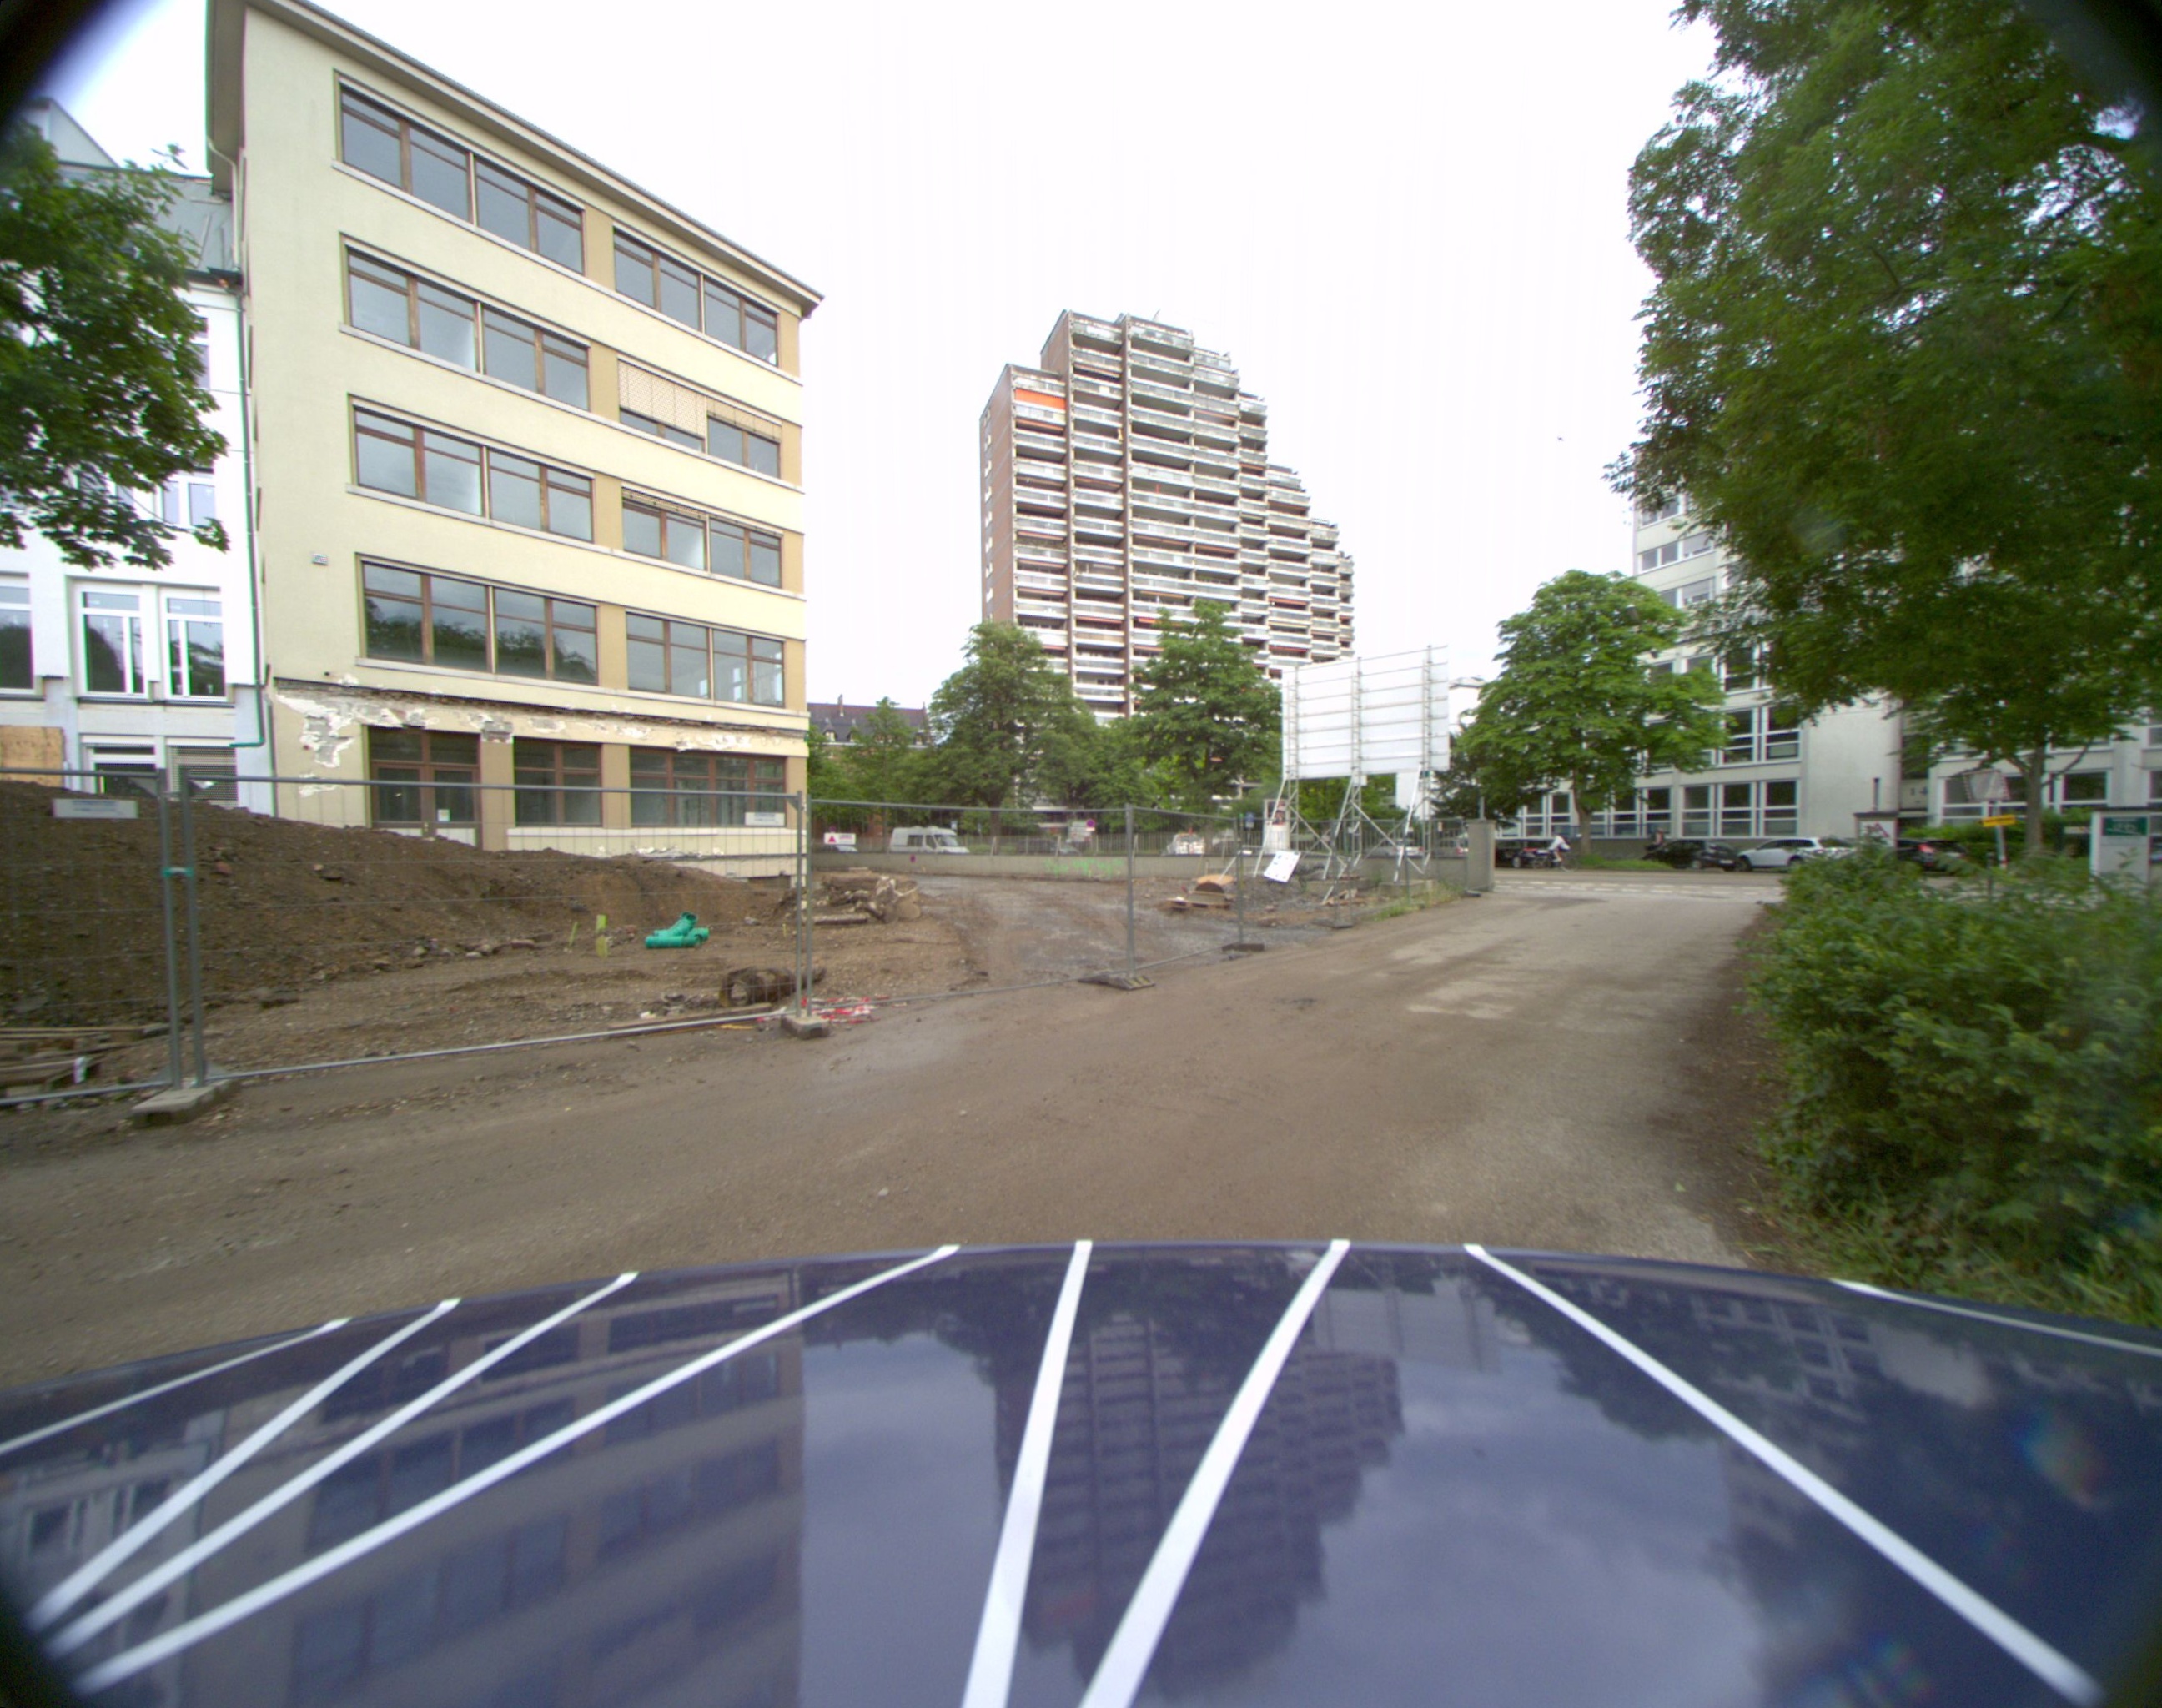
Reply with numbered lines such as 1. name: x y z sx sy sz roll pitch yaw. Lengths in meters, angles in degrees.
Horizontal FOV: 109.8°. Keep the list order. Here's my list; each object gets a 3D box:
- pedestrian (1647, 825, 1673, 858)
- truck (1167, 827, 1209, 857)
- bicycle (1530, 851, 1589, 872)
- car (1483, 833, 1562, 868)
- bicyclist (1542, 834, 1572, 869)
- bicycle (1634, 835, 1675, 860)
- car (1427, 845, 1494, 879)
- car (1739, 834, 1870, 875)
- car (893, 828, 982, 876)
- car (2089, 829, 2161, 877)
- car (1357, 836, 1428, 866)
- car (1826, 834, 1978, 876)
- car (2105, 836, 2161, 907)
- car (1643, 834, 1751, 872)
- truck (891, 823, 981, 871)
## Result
1. pedestrian: 29.507 -0.647 38.733 0.735 1.603 0.753 -3 5 -27
2. truck: 7.170 -0.850 51.372 1.999 1.838 5.061 -1 2 -2
3. bicycle: 20.873 0.326 33.151 2.132 0.864 0.471 1 2 39
4. car: 21.747 -0.218 37.580 1.699 1.516 3.703 -1 3 -2
5. bicyclist: 20.809 -0.129 33.209 1.024 1.492 0.847 1 2 38
6. bicycle: 29.110 -0.340 38.601 0.407 1.261 1.591 -2 2 -38
7. car: 19.665 0.390 39.501 1.572 1.516 3.649 -1 3 -2
8. car: 29.446 -0.031 31.115 1.698 1.476 4.028 -1 3 5
9. car: -8.367 -0.183 43.927 5.475 2.588 2.123 1 3 42
10. car: 36.716 -0.004 24.760 1.699 1.547 4.342 -2 3 -6
11. car: 17.135 -0.217 41.994 1.803 1.457 4.428 -1 3 -5
12. car: 31.682 -0.001 29.516 1.698 1.398 4.028 -1 3 5
13. car: 23.519 0.367 15.128 3.422 1.452 1.683 1 1 42
14. car: 27.063 -0.094 33.547 1.699 1.516 3.703 -1 3 -2
15. truck: -8.414 -0.431 43.819 5.475 2.588 2.123 1 3 42
